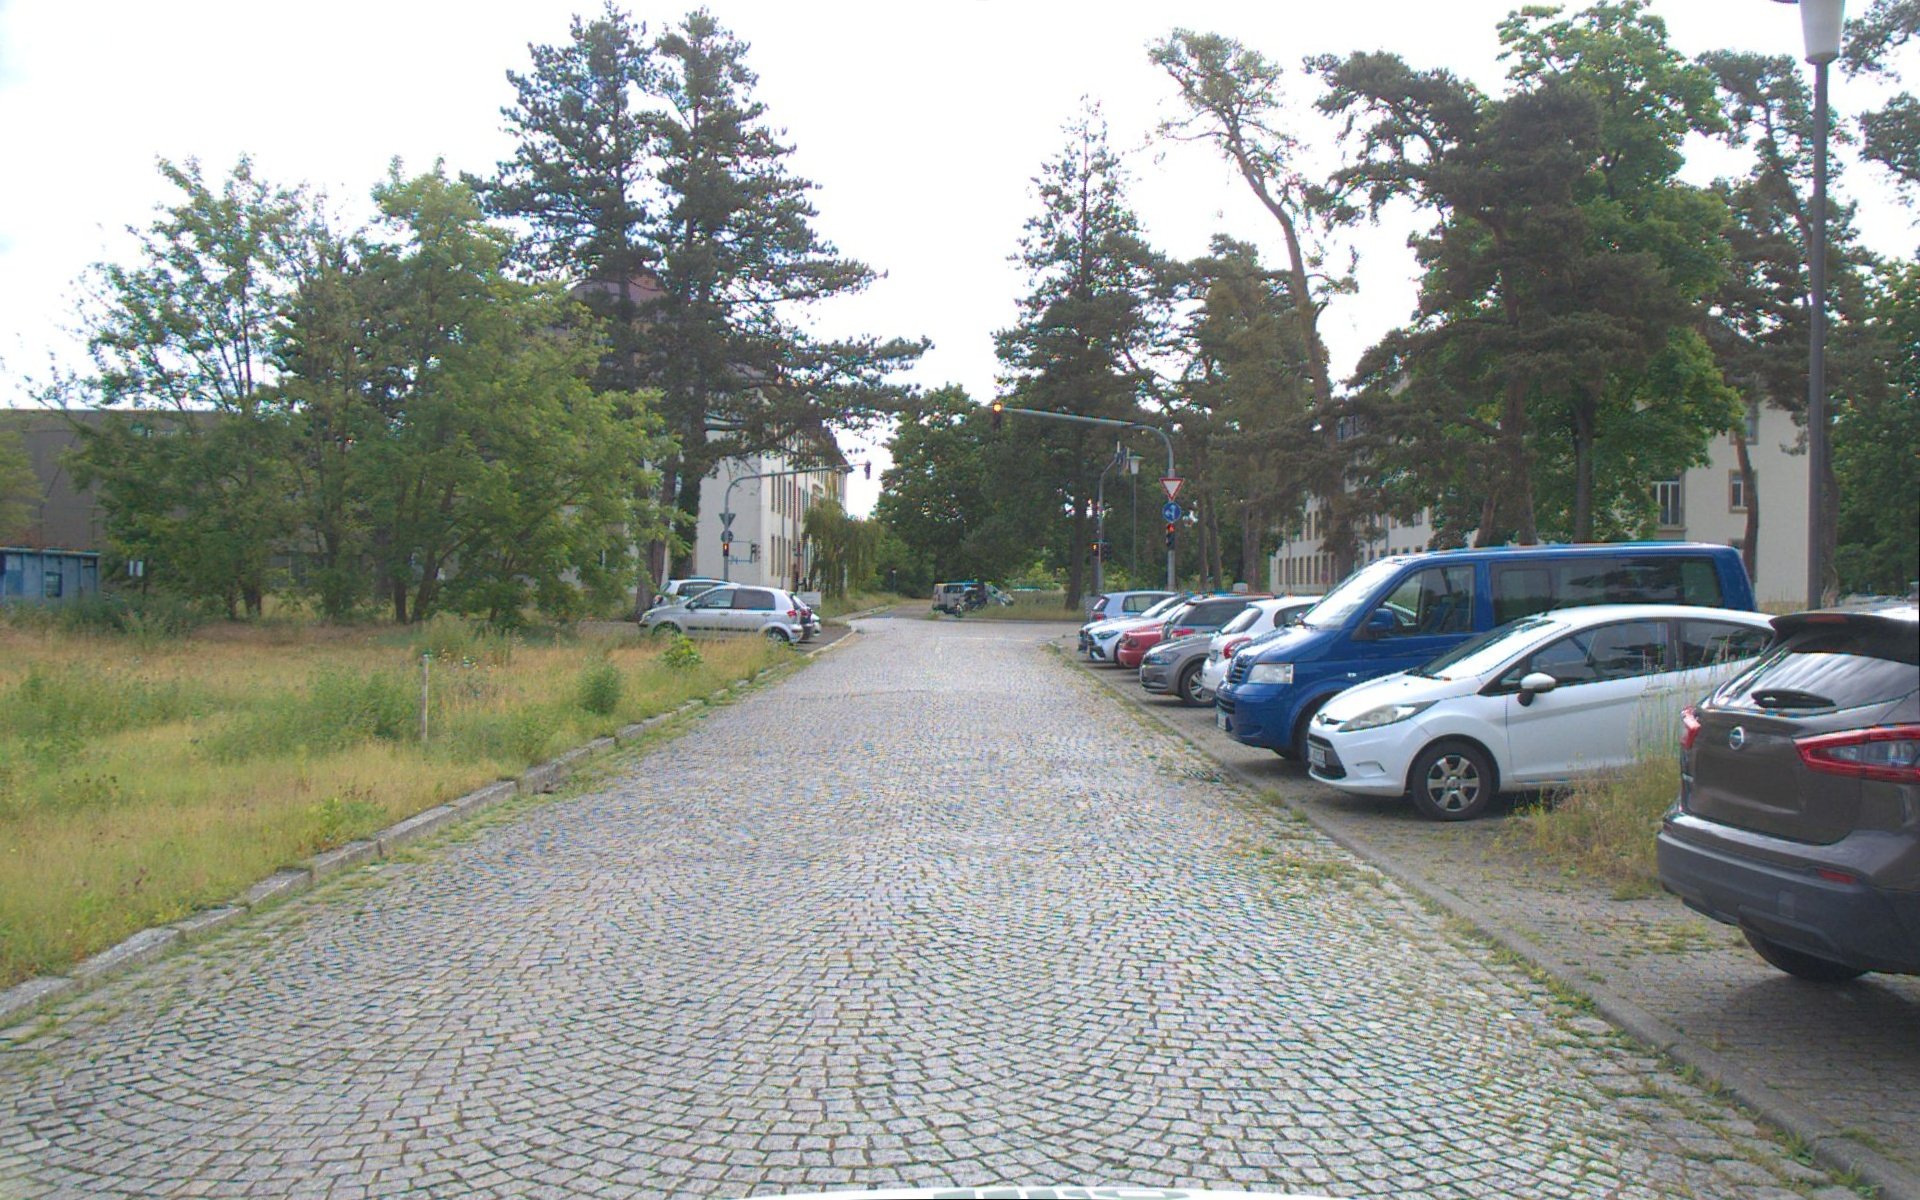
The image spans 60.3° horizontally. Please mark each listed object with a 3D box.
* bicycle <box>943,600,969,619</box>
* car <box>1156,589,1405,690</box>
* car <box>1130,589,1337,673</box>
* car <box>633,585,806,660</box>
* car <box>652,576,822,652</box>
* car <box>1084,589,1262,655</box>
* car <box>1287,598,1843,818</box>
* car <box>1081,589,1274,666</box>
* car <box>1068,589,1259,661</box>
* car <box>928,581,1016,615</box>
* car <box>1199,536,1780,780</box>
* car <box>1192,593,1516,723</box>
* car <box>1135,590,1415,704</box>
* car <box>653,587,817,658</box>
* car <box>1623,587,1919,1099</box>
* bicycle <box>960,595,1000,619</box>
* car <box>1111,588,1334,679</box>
[{"bbox_3d":[-0.190,0.475,83.708,0.613,0.961,1.648,1,0,-28],"label":"bicycle"},{"bbox_3d":[5.020,0.604,26.146,3.598,1.475,1.523,-1,0,-2],"label":"car"},{"bbox_3d":[5.099,0.560,31.137,3.598,1.475,1.523,-1,0,-2],"label":"car"},{"bbox_3d":[-5.444,0.507,37.734,3.746,1.600,1.563,-1,0,-4],"label":"car"},{"bbox_3d":[-5.776,0.351,43.135,4.176,1.873,1.743,-1,0,-1],"label":"car"},{"bbox_3d":[4.970,0.501,38.895,3.890,1.446,1.618,-1,0,-5],"label":"car"},{"bbox_3d":[4.453,0.754,12.503,3.598,1.475,1.614,-1,0,-3],"label":"car"},{"bbox_3d":[4.358,0.543,33.383,3.600,1.446,1.522,-1,0,-5],"label":"car"},{"bbox_3d":[4.426,0.532,36.239,3.890,1.446,1.618,-1,0,-5],"label":"car"},{"bbox_3d":[0.740,-0.146,105.694,5.346,2.049,2.264,1,0,-10],"label":"car"},{"bbox_3d":[4.679,0.484,15.097,4.659,1.989,1.930,-1,0,-2],"label":"car"},{"bbox_3d":[4.782,0.685,20.377,3.598,1.475,1.523,-1,0,-2],"label":"car"},{"bbox_3d":[4.351,0.634,23.152,3.598,1.475,1.523,-1,0,-2],"label":"car"},{"bbox_3d":[-5.417,0.533,40.151,3.744,1.600,1.564,-1,0,-1],"label":"car"},{"bbox_3d":[4.787,0.724,6.129,3.948,1.579,1.750,-1,0,-3],"label":"car"},{"bbox_3d":[1.067,0.377,87.788,2.095,1.236,0.621,1,0,-5],"label":"bicycle"},{"bbox_3d":[4.535,0.565,28.848,3.598,1.475,1.523,-1,0,-2],"label":"car"}]
